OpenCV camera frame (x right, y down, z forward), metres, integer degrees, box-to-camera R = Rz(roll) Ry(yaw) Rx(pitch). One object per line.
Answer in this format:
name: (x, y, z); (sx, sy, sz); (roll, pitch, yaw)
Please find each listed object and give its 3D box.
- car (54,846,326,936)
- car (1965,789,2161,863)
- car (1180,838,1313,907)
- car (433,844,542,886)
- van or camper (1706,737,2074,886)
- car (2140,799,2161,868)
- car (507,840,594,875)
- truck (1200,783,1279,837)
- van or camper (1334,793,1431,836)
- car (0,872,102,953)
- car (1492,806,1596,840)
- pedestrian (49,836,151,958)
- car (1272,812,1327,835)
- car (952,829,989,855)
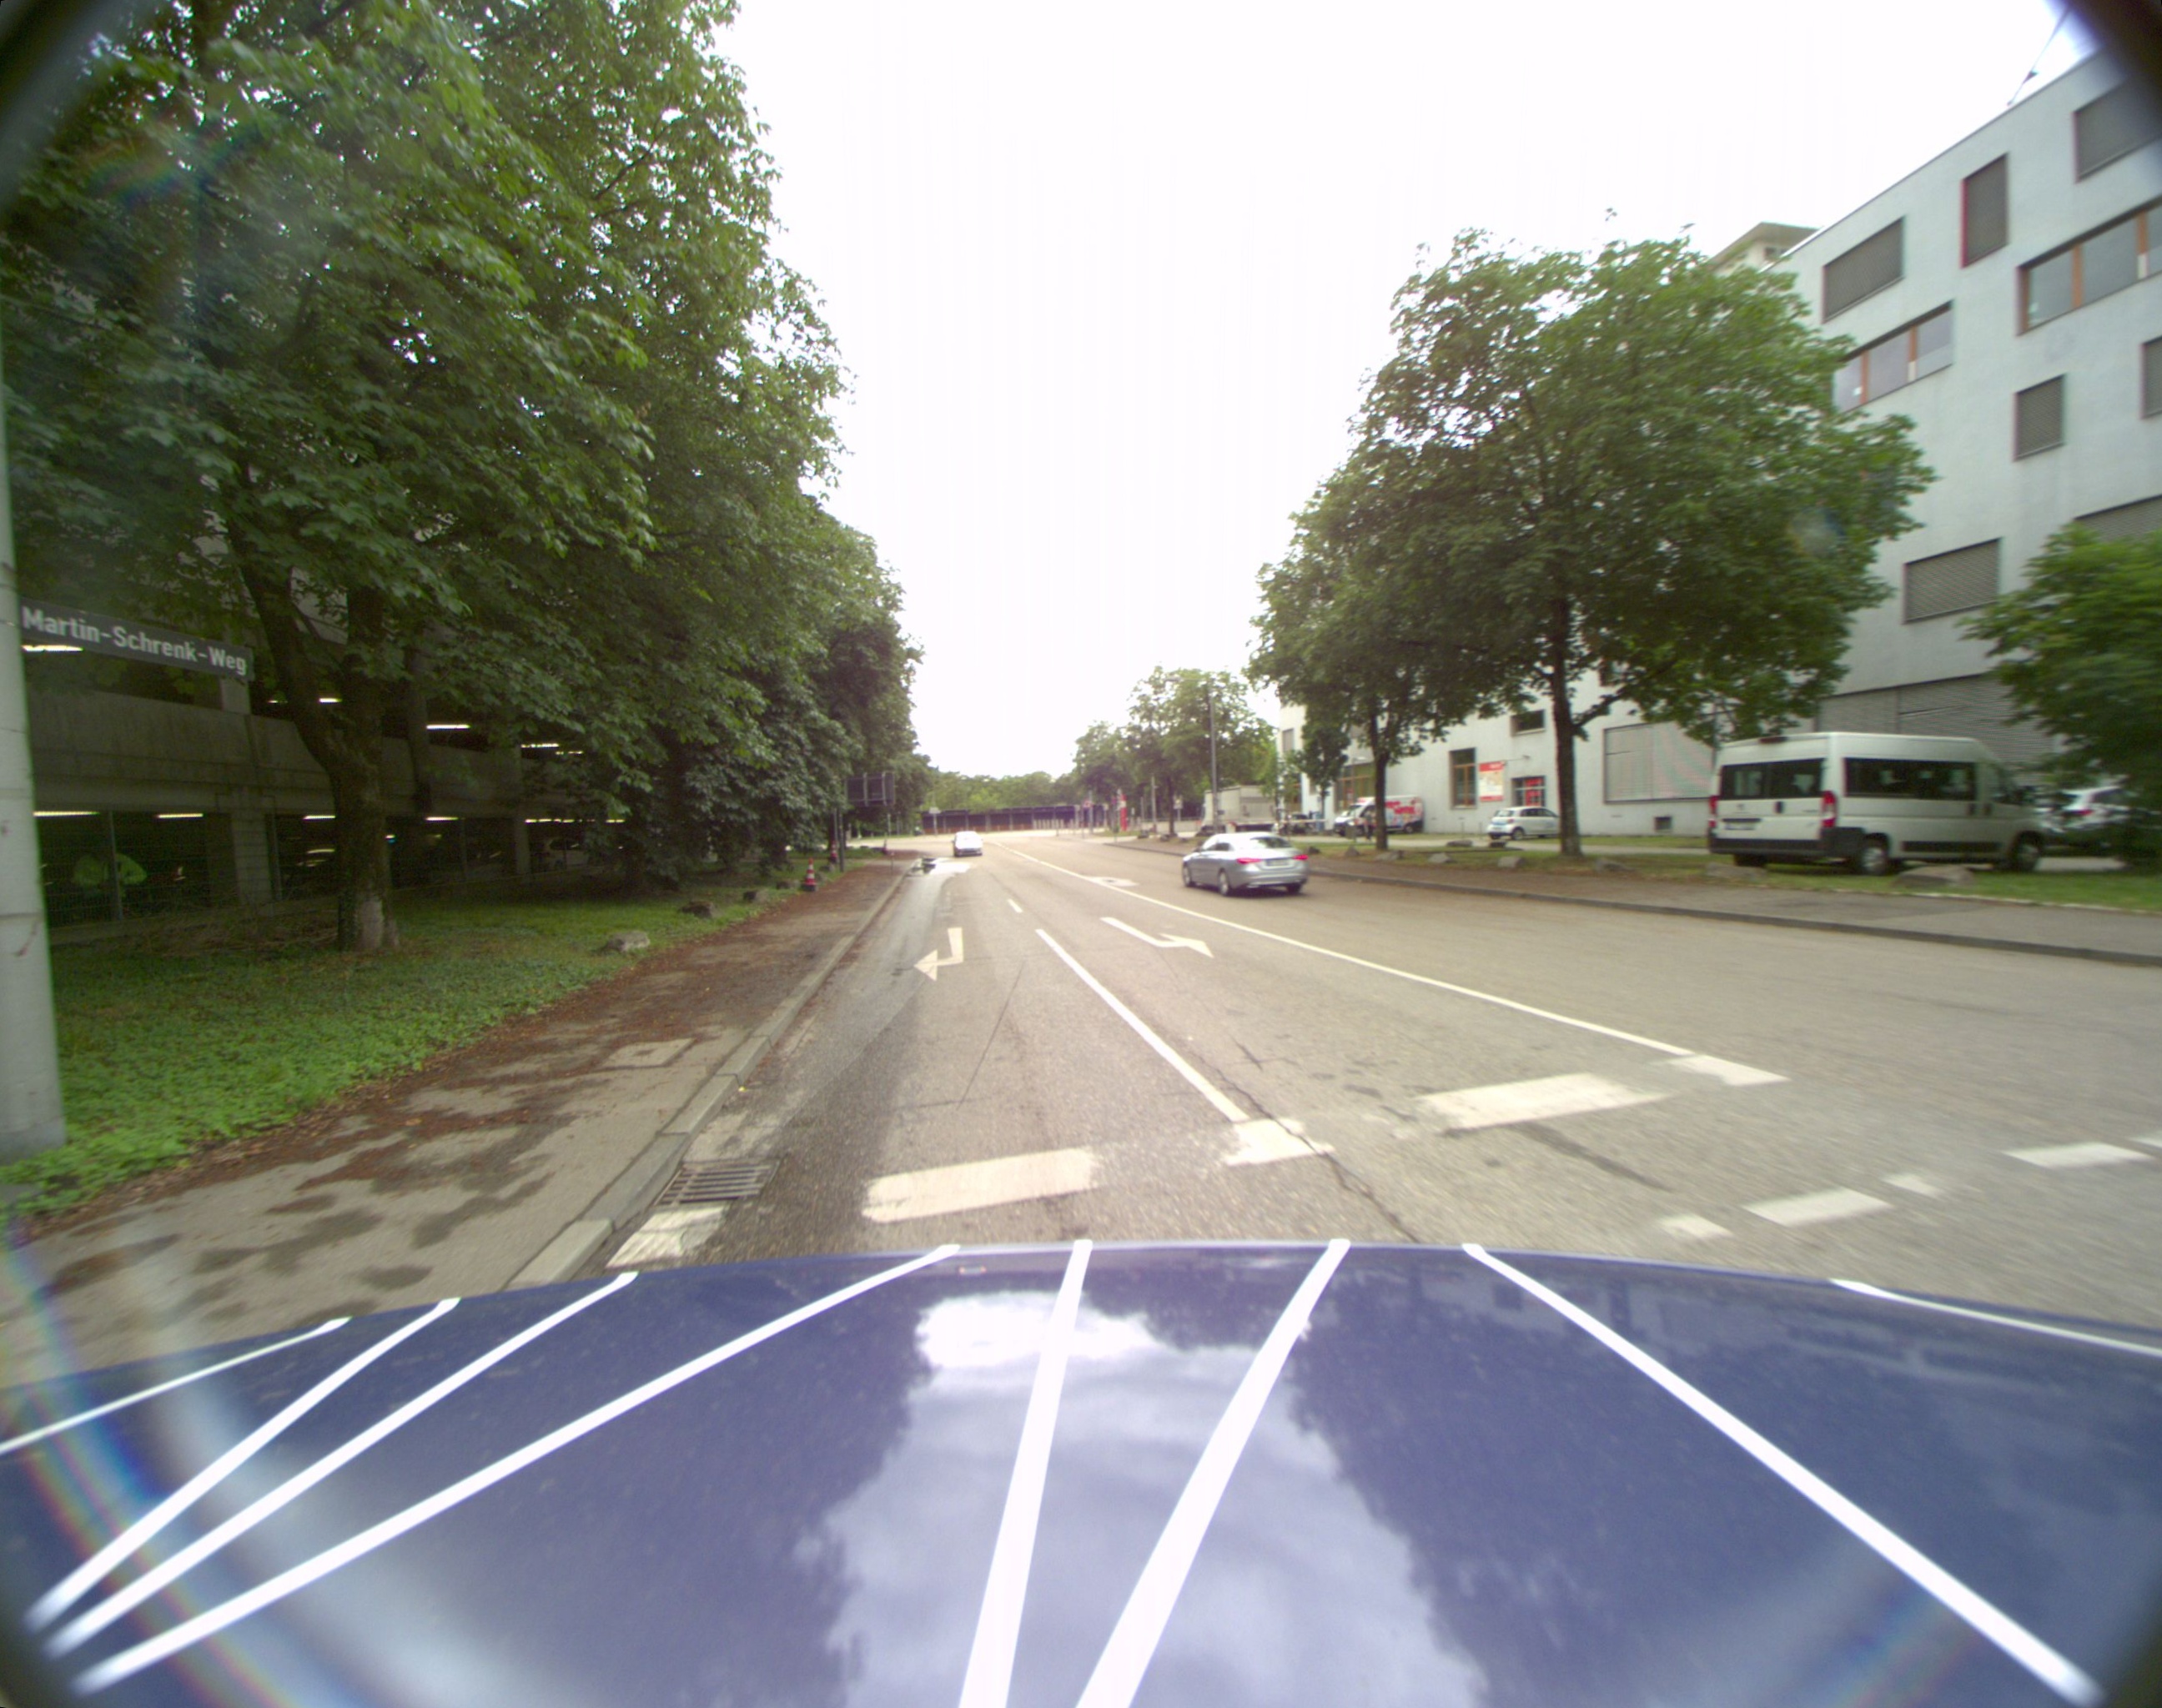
car: (-20.935, 0.753, 18.190); (2.000, 1.718, 3.995); (-4, 2, -10)
car: (24.247, -0.704, 18.473); (4.082, 1.521, 1.841); (-4, 2, -11)
car: (3.853, 0.353, 18.476); (1.703, 1.390, 4.366); (-2, 2, -8)
car: (-22.292, 0.356, 28.714); (1.523, 1.357, 3.771); (-2, 2, -9)
van or camper: (14.585, -0.775, 13.832); (5.187, 2.410, 2.154); (-1, 2, -11)
car: (25.190, -0.576, 15.977); (4.076, 1.452, 1.856); (-5, 2, -11)
car: (-23.053, 0.100, 33.185); (1.523, 1.319, 3.771); (-2, 2, -9)
truck: (11.244, -3.063, 54.793); (2.650, 3.596, 7.828); (-1, 2, -12)
van or camper: (18.998, -2.473, 47.967); (5.270, 2.413, 2.254); (-3, 3, -11)
car: (-19.822, 1.118, 12.990); (1.523, 1.357, 3.771); (-2, 2, -9)
car: (21.606, -1.439, 35.509); (4.012, 1.411, 1.712); (-3, 3, -9)
pedestrian: (-14.057, 0.600, 10.907); (0.618, 1.691, 0.609); (2, 3, -10)
car: (16.821, -2.358, 58.453); (3.701, 1.638, 1.653); (-2, 3, -7)
car: (-6.978, -0.793, 47.779); (1.856, 1.471, 4.502); (-3, 3, -13)
